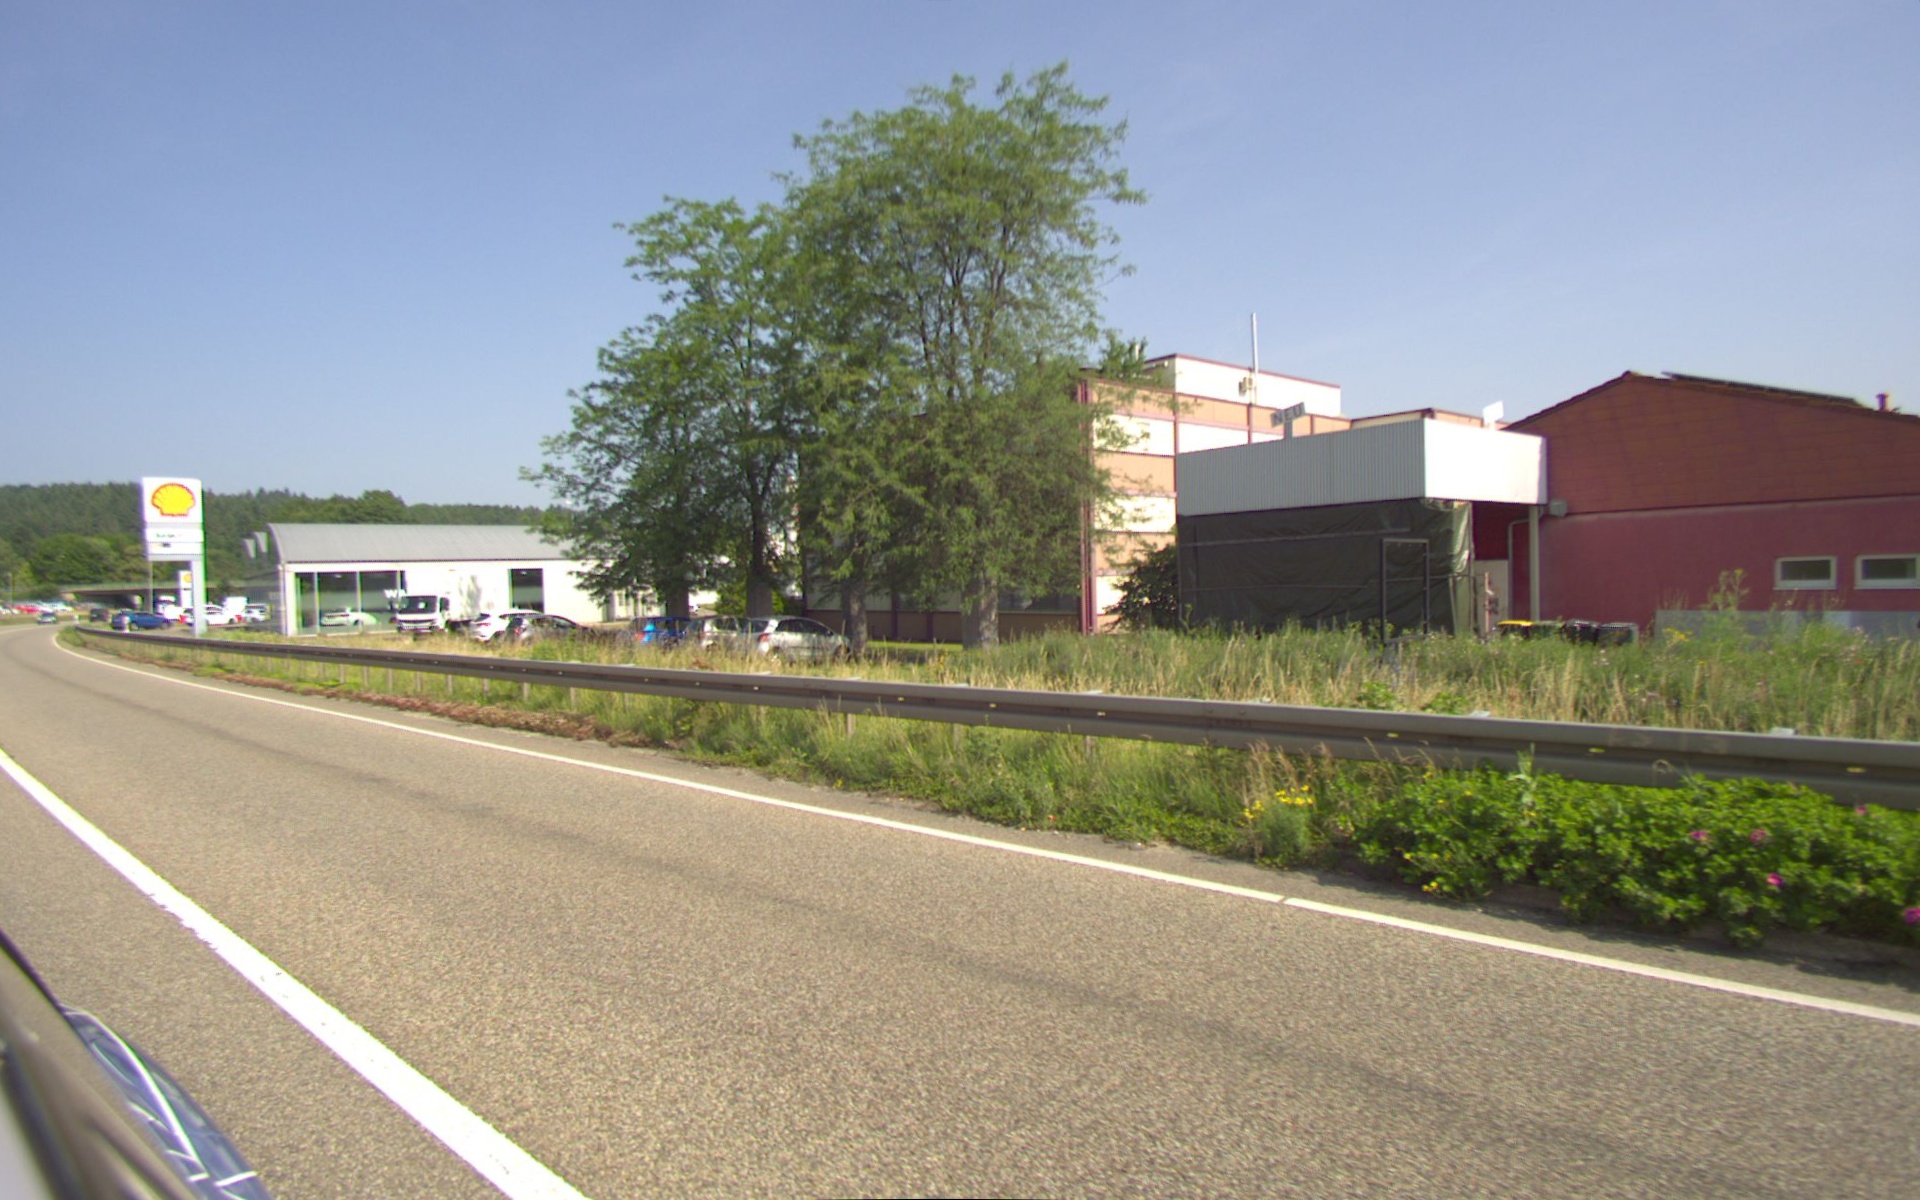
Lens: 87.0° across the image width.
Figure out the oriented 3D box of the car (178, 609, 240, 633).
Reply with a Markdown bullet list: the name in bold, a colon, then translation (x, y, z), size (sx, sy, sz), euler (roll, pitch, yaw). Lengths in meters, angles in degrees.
- **car**: translation (-74.830, 2.080, 100.879), size (4.732, 1.996, 2.232), euler (-4, 1, -40)

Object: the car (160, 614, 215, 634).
- **car**: translation (-82.777, 2.542, 108.458), size (4.613, 1.871, 2.147), euler (-3, 1, -40)

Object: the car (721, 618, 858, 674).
- **car**: translation (-5.068, 1.322, 30.379), size (1.862, 1.471, 3.706), euler (-1, 0, 43)

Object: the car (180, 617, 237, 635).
- **car**: translation (-71.630, 2.464, 96.523), size (1.877, 1.413, 4.217), euler (-1, 1, 10)

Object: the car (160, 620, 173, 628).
- **car**: translation (-149.405, 4.567, 190.510), size (1.729, 1.486, 4.296), euler (1, -1, -37)

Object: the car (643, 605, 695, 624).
- **car**: translation (-19.947, 0.994, 69.298), size (4.002, 1.209, 1.703), euler (-1, 0, 45)

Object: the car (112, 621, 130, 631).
- **car**: translation (-131.762, 4.063, 158.959), size (1.768, 1.642, 4.237), euler (0, -1, -36)

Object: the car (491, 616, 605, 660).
- **car**: translation (-16.346, 1.480, 40.257), size (1.931, 1.511, 3.708), euler (-1, 1, 41)

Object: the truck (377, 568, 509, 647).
- **truck**: translation (-25.972, 0.299, 51.400), size (2.765, 3.583, 8.218), euler (-2, 1, -3)

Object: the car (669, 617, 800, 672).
- **car**: translation (-7.278, 1.378, 32.784), size (3.700, 1.511, 1.861), euler (-2, 1, -40)

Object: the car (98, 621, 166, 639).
- **car**: translation (-70.675, 2.547, 86.440), size (1.833, 1.378, 4.380), euler (-1, 0, 10)

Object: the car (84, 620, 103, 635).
- **car**: translation (-117.922, 3.716, 137.752), size (1.890, 1.899, 4.920), euler (1, -1, -39)

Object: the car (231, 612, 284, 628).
- **car**: translation (-73.238, 2.029, 105.509), size (4.409, 1.409, 1.970), euler (-3, 1, -40)

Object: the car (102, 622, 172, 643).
- **car**: translation (-68.013, 2.670, 83.726), size (1.964, 1.518, 4.218), euler (-1, 0, 10)

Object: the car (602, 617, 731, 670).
- **car**: translation (-9.922, 1.419, 34.336), size (1.932, 1.511, 3.706), euler (-1, 1, 43)

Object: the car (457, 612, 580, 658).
- **car**: translation (-18.352, 1.404, 42.210), size (1.931, 1.667, 4.305), euler (-1, 1, 41)

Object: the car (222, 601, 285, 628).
- **car**: translation (-81.109, 1.633, 116.207), size (5.648, 2.765, 2.290), euler (-4, 2, -38)
